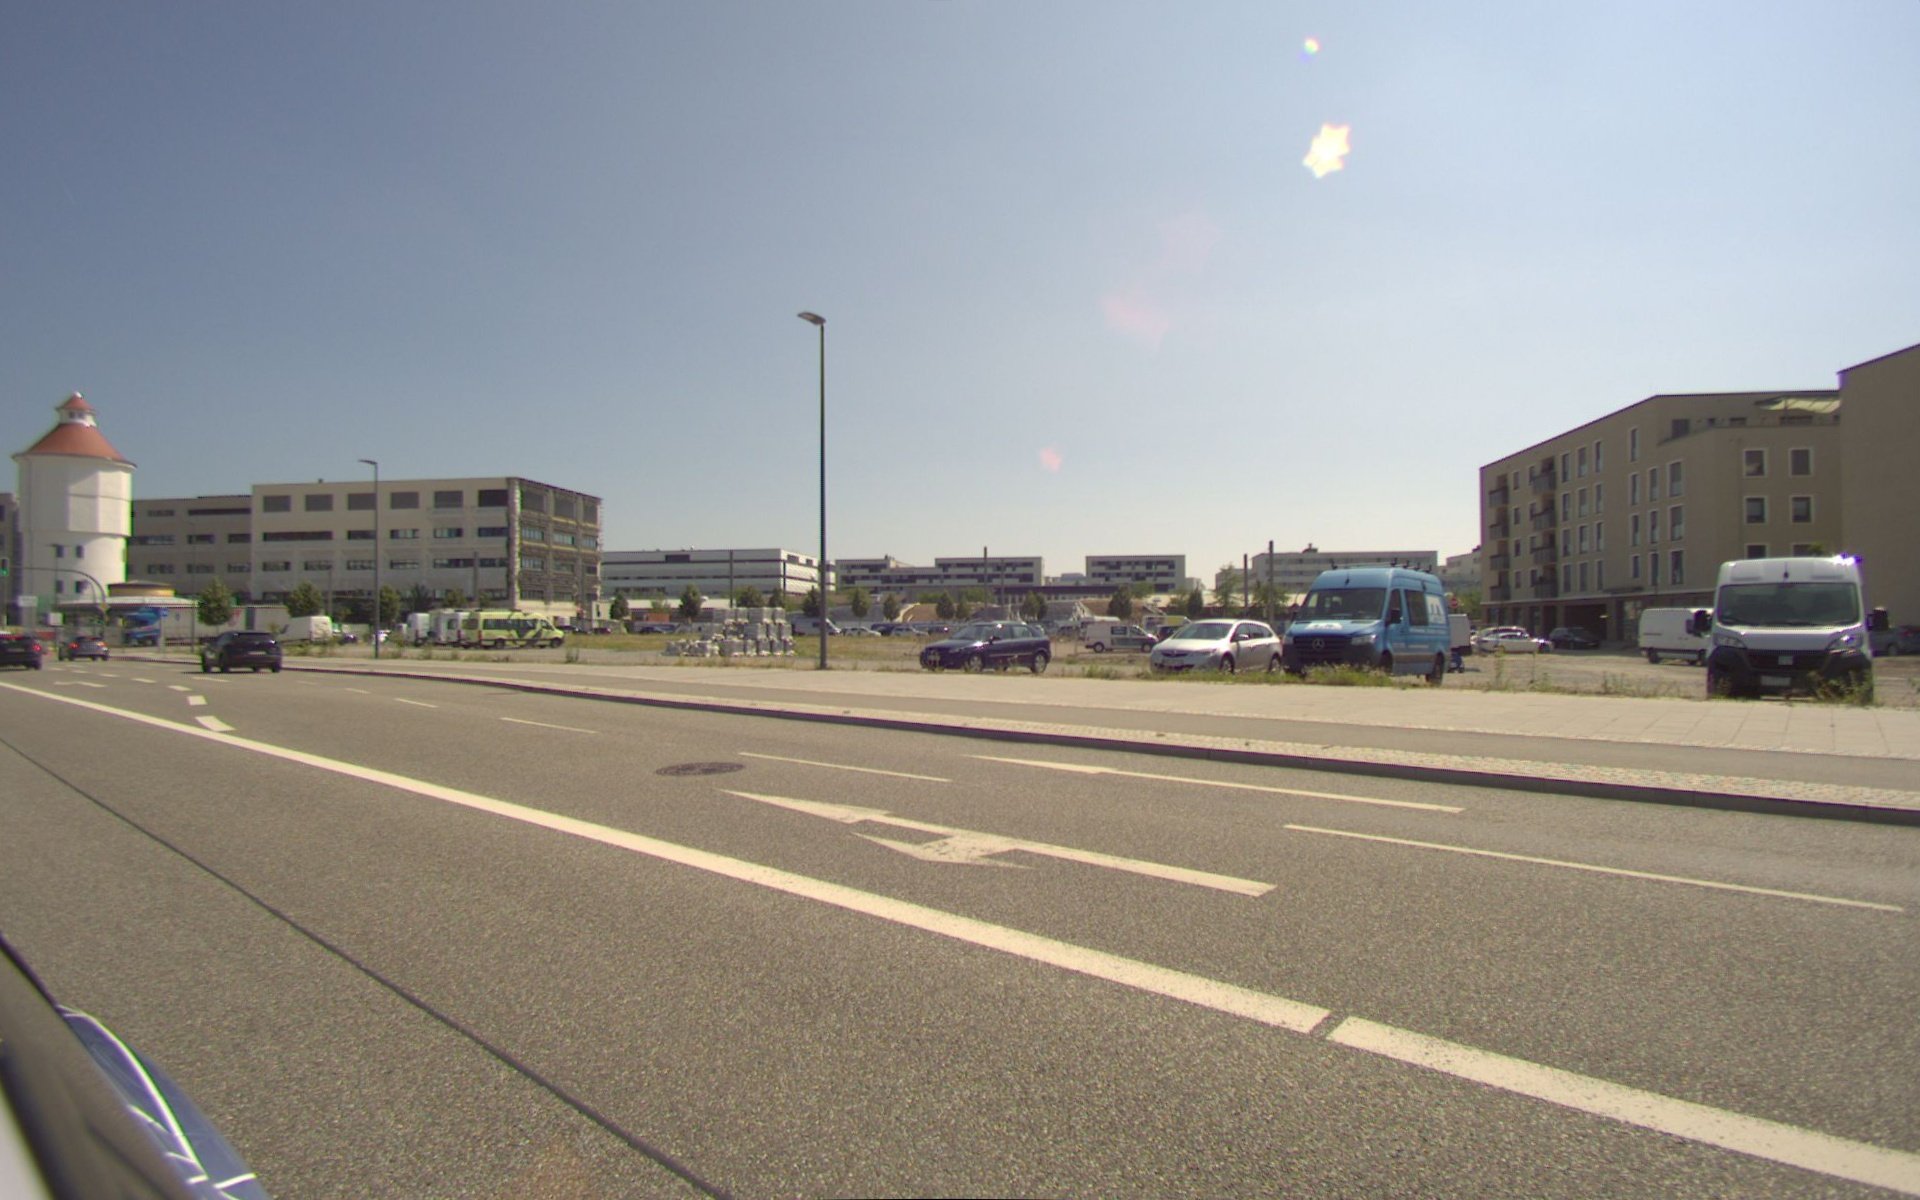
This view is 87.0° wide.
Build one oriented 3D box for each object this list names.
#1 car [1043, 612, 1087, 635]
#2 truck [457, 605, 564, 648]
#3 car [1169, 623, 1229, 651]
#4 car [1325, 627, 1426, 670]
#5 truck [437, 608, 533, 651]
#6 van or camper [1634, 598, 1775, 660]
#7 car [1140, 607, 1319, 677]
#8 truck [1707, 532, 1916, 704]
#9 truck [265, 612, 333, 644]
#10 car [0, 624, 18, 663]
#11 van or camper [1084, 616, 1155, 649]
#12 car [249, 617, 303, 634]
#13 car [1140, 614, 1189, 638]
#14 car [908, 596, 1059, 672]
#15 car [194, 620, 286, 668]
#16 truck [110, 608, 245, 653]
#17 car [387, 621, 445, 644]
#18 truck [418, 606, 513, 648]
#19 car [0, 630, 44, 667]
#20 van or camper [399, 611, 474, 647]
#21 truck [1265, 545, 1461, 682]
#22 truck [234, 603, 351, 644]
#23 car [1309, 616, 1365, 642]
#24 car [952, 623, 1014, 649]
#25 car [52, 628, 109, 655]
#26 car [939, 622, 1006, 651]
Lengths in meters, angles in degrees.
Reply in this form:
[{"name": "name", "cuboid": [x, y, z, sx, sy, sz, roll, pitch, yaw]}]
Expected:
[{"name": "car", "cuboid": [9.632, 2.164, 92.621, 3.953, 2.029, 1.995, -1, -2, 8]}, {"name": "truck", "cuboid": [-32.199, 1.841, 72.634, 2.599, 2.847, 6.572, -2, -1, 38]}, {"name": "car", "cuboid": [16.706, 2.576, 70.827, 3.958, 1.896, 1.993, -1, -2, 12]}, {"name": "car", "cuboid": [19.123, 2.237, 46.787, 3.960, 1.863, 1.992, -2, -1, 13]}, {"name": "truck", "cuboid": [-34.860, 2.093, 74.413, 2.568, 2.845, 5.776, 0, 1, 40]}, {"name": "van or camper", "cuboid": [33.290, 1.302, 45.531, 1.909, 2.578, 5.928, 0, -2, 0]}, {"name": "car", "cuboid": [6.596, 0.959, 24.249, 2.104, 1.485, 5.595, -1, -2, 38]}, {"name": "truck", "cuboid": [14.055, 0.323, 16.869, 2.273, 2.381, 5.511, -2, -2, 39]}, {"name": "truck", "cuboid": [-57.024, 2.393, 87.282, 5.914, 2.675, 2.154, -1, -2, 26]}, {"name": "car", "cuboid": [-43.472, 1.920, 44.962, 4.728, 1.662, 1.893, -2, -2, 41]}, {"name": "van or camper", "cuboid": [11.159, 2.290, 71.041, 4.880, 2.301, 1.995, 0, -2, 9]}, {"name": "car", "cuboid": [-66.621, 2.496, 98.579, 1.872, 1.652, 3.962, -1, -2, 28]}, {"name": "car", "cuboid": [17.880, 2.308, 88.640, 3.952, 2.029, 1.996, -1, -2, 7]}, {"name": "car", "cuboid": [0.690, 0.924, 27.577, 3.938, 1.918, 1.830, 1, -2, -42]}, {"name": "car", "cuboid": [-26.239, 1.571, 36.809, 4.387, 1.640, 1.882, -2, -2, 43]}, {"name": "truck", "cuboid": [-81.057, 3.048, 105.245, 3.281, 4.098, 10.896, 0, 1, 23]}, {"name": "car", "cuboid": [-44.357, 2.632, 82.567, 1.654, 1.771, 3.830, -2, -1, 37]}, {"name": "truck", "cuboid": [-38.115, 2.041, 78.168, 2.570, 2.923, 6.080, 0, 1, 42]}, {"name": "car", "cuboid": [-38.185, 1.910, 40.561, 4.571, 1.409, 1.768, -2, -3, 43]}, {"name": "van or camper", "cuboid": [-41.642, 2.283, 80.572, 2.258, 2.682, 4.849, -2, -1, 41]}, {"name": "truck", "cuboid": [8.926, 0.342, 22.025, 2.273, 2.563, 5.944, -2, -2, 39]}, {"name": "truck", "cuboid": [-75.982, 2.571, 115.467, 3.331, 4.307, 10.841, 0, 1, 29]}, {"name": "car", "cuboid": [31.108, 2.403, 83.618, 3.959, 2.029, 1.992, -1, -5, 12]}, {"name": "car", "cuboid": [1.821, 2.816, 78.440, 4.601, 1.985, 1.994, -1, -2, 9]}, {"name": "car", "cuboid": [-51.704, 2.407, 59.503, 4.384, 1.507, 1.883, -2, -2, 40]}, {"name": "car", "cuboid": [0.888, 2.612, 72.565, 4.601, 2.029, 1.994, -1, -2, 9]}]
